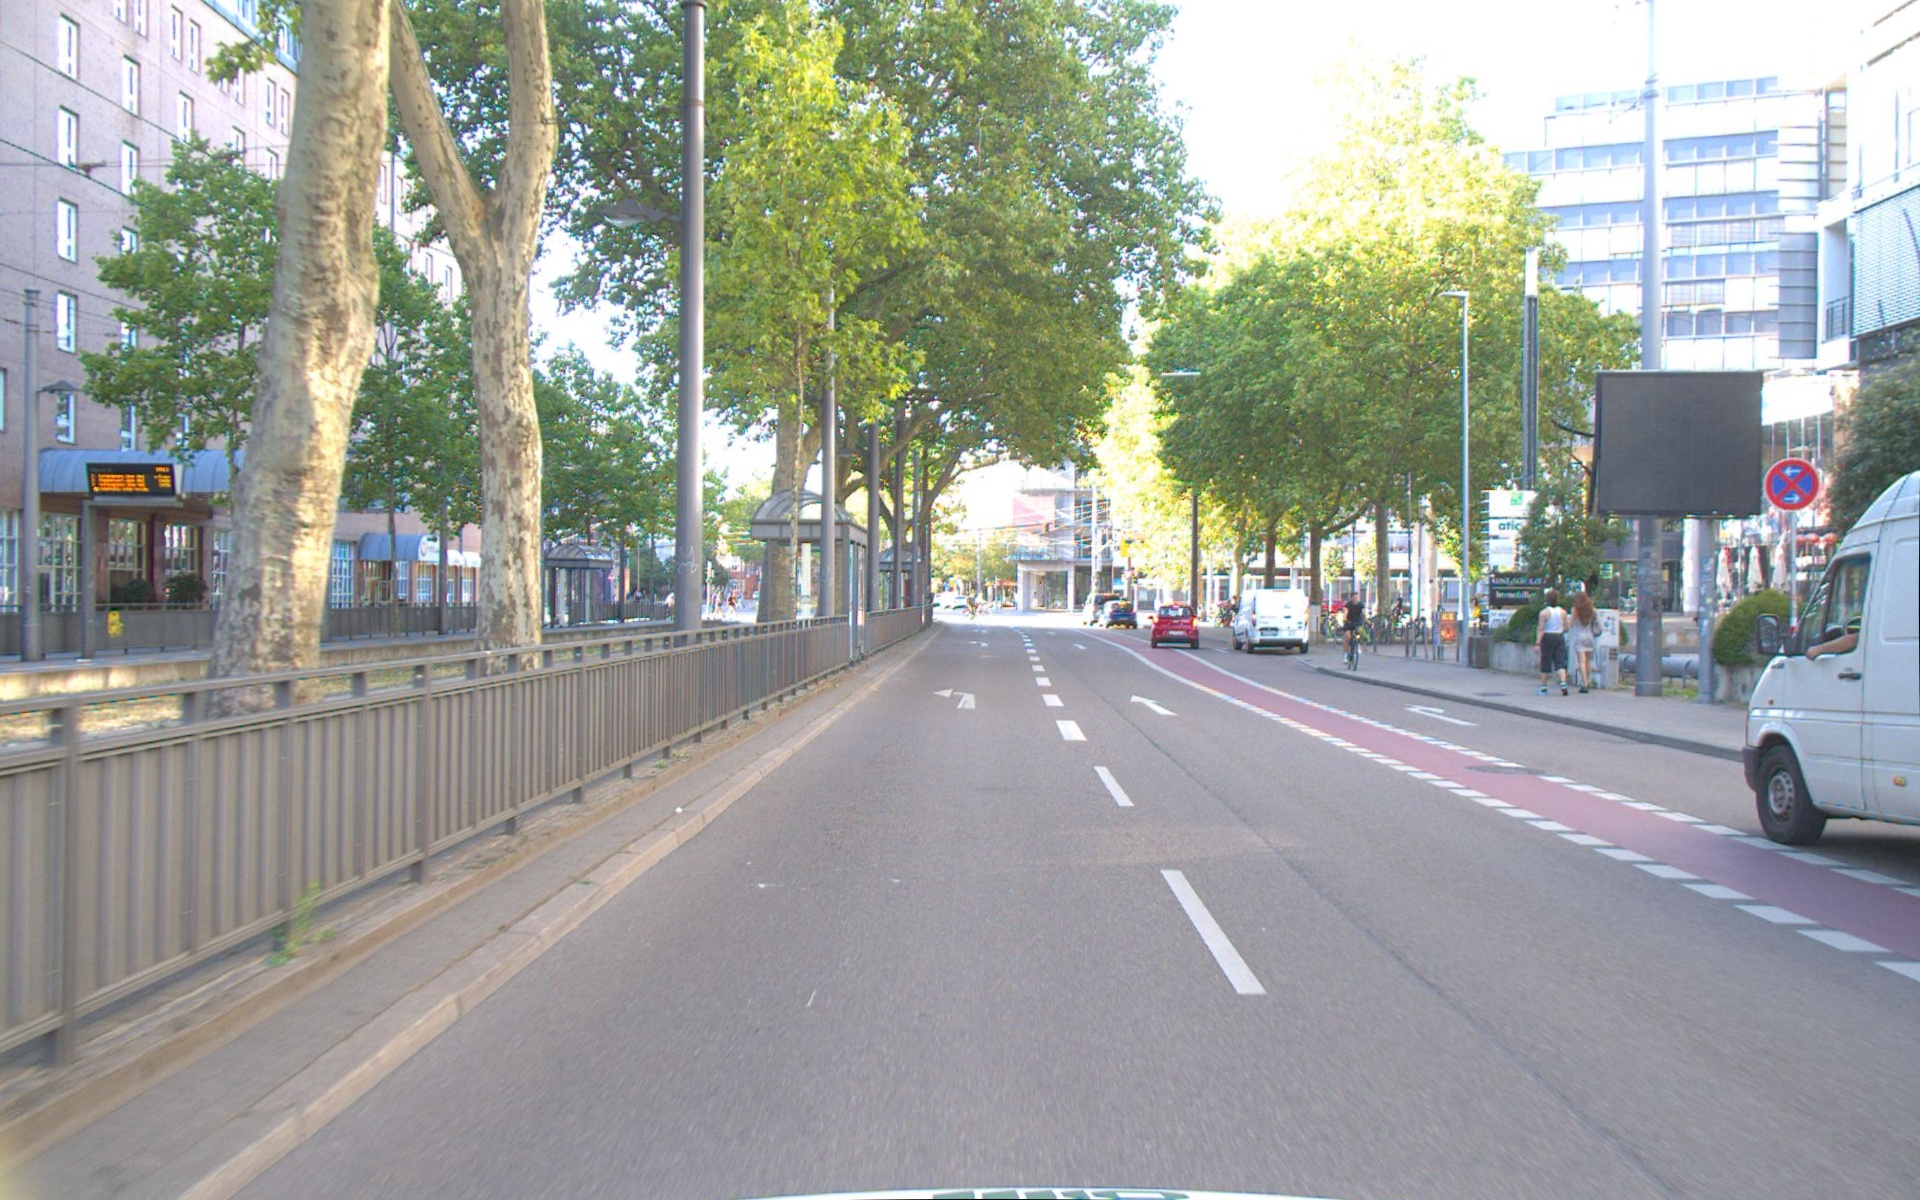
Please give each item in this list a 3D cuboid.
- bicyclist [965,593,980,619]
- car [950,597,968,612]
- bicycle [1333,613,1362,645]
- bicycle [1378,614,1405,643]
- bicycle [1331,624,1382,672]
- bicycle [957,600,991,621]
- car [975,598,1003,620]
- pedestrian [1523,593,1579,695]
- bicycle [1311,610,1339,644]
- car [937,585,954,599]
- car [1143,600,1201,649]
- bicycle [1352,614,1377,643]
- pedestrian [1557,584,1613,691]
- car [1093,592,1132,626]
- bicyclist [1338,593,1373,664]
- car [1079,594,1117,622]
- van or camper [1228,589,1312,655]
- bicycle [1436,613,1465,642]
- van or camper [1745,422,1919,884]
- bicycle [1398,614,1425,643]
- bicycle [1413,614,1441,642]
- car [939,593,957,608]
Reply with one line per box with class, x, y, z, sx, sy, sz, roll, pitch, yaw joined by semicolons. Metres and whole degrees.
bicyclist;0.784;0.379;104.207;0.820;1.619;0.838;1;0;-8
car;-0.140;0.496;178.730;1.742;1.561;3.409;1;0;-4
bicycle;13.806;1.017;58.985;0.574;1.086;1.900;-1;0;0
bicycle;15.387;0.999;59.004;0.493;0.999;1.767;-1;0;0
bicycle;9.727;1.166;40.648;0.669;1.086;2.469;-1;0;0
bicycle;0.879;0.665;104.253;1.974;1.235;0.838;1;0;-9
car;2.112;0.624;120.176;1.742;1.561;3.509;1;0;-4
pedestrian;10.275;0.754;28.767;0.553;1.732;0.906;-3;0;-1
bicycle;13.001;0.958;59.002;0.574;1.181;1.900;-1;0;0
car;-1.680;-0.897;191.351;1.742;1.616;3.409;1;0;-4
car;7.219;0.816;56.524;1.580;1.561;3.412;1;0;1
bicycle;14.433;1.017;58.998;0.458;0.999;1.767;-1;0;0
pedestrian;10.918;0.646;28.929;0.529;1.827;0.906;-3;0;-1
car;8.368;0.468;90.918;1.604;1.831;3.326;0;0;-5
bicyclist;9.740;0.692;40.770;0.636;1.731;0.952;1;0;0
car;8.090;0.471;97.288;1.742;1.561;3.509;1;0;-4
van or camper;9.981;0.688;53.571;1.952;2.024;4.746;1;0;2
bicycle;17.480;0.980;58.942;0.493;0.999;1.767;-1;0;0
van or camper;6.692;0.336;8.940;1.928;2.763;6.305;1;0;1
bicycle;16.099;1.006;59.019;0.493;0.999;1.767;-1;0;0
bicycle;16.700;0.994;59.162;0.493;0.999;1.767;-1;0;0
car;-1.342;0.033;185.334;1.742;1.561;3.409;1;0;-4
